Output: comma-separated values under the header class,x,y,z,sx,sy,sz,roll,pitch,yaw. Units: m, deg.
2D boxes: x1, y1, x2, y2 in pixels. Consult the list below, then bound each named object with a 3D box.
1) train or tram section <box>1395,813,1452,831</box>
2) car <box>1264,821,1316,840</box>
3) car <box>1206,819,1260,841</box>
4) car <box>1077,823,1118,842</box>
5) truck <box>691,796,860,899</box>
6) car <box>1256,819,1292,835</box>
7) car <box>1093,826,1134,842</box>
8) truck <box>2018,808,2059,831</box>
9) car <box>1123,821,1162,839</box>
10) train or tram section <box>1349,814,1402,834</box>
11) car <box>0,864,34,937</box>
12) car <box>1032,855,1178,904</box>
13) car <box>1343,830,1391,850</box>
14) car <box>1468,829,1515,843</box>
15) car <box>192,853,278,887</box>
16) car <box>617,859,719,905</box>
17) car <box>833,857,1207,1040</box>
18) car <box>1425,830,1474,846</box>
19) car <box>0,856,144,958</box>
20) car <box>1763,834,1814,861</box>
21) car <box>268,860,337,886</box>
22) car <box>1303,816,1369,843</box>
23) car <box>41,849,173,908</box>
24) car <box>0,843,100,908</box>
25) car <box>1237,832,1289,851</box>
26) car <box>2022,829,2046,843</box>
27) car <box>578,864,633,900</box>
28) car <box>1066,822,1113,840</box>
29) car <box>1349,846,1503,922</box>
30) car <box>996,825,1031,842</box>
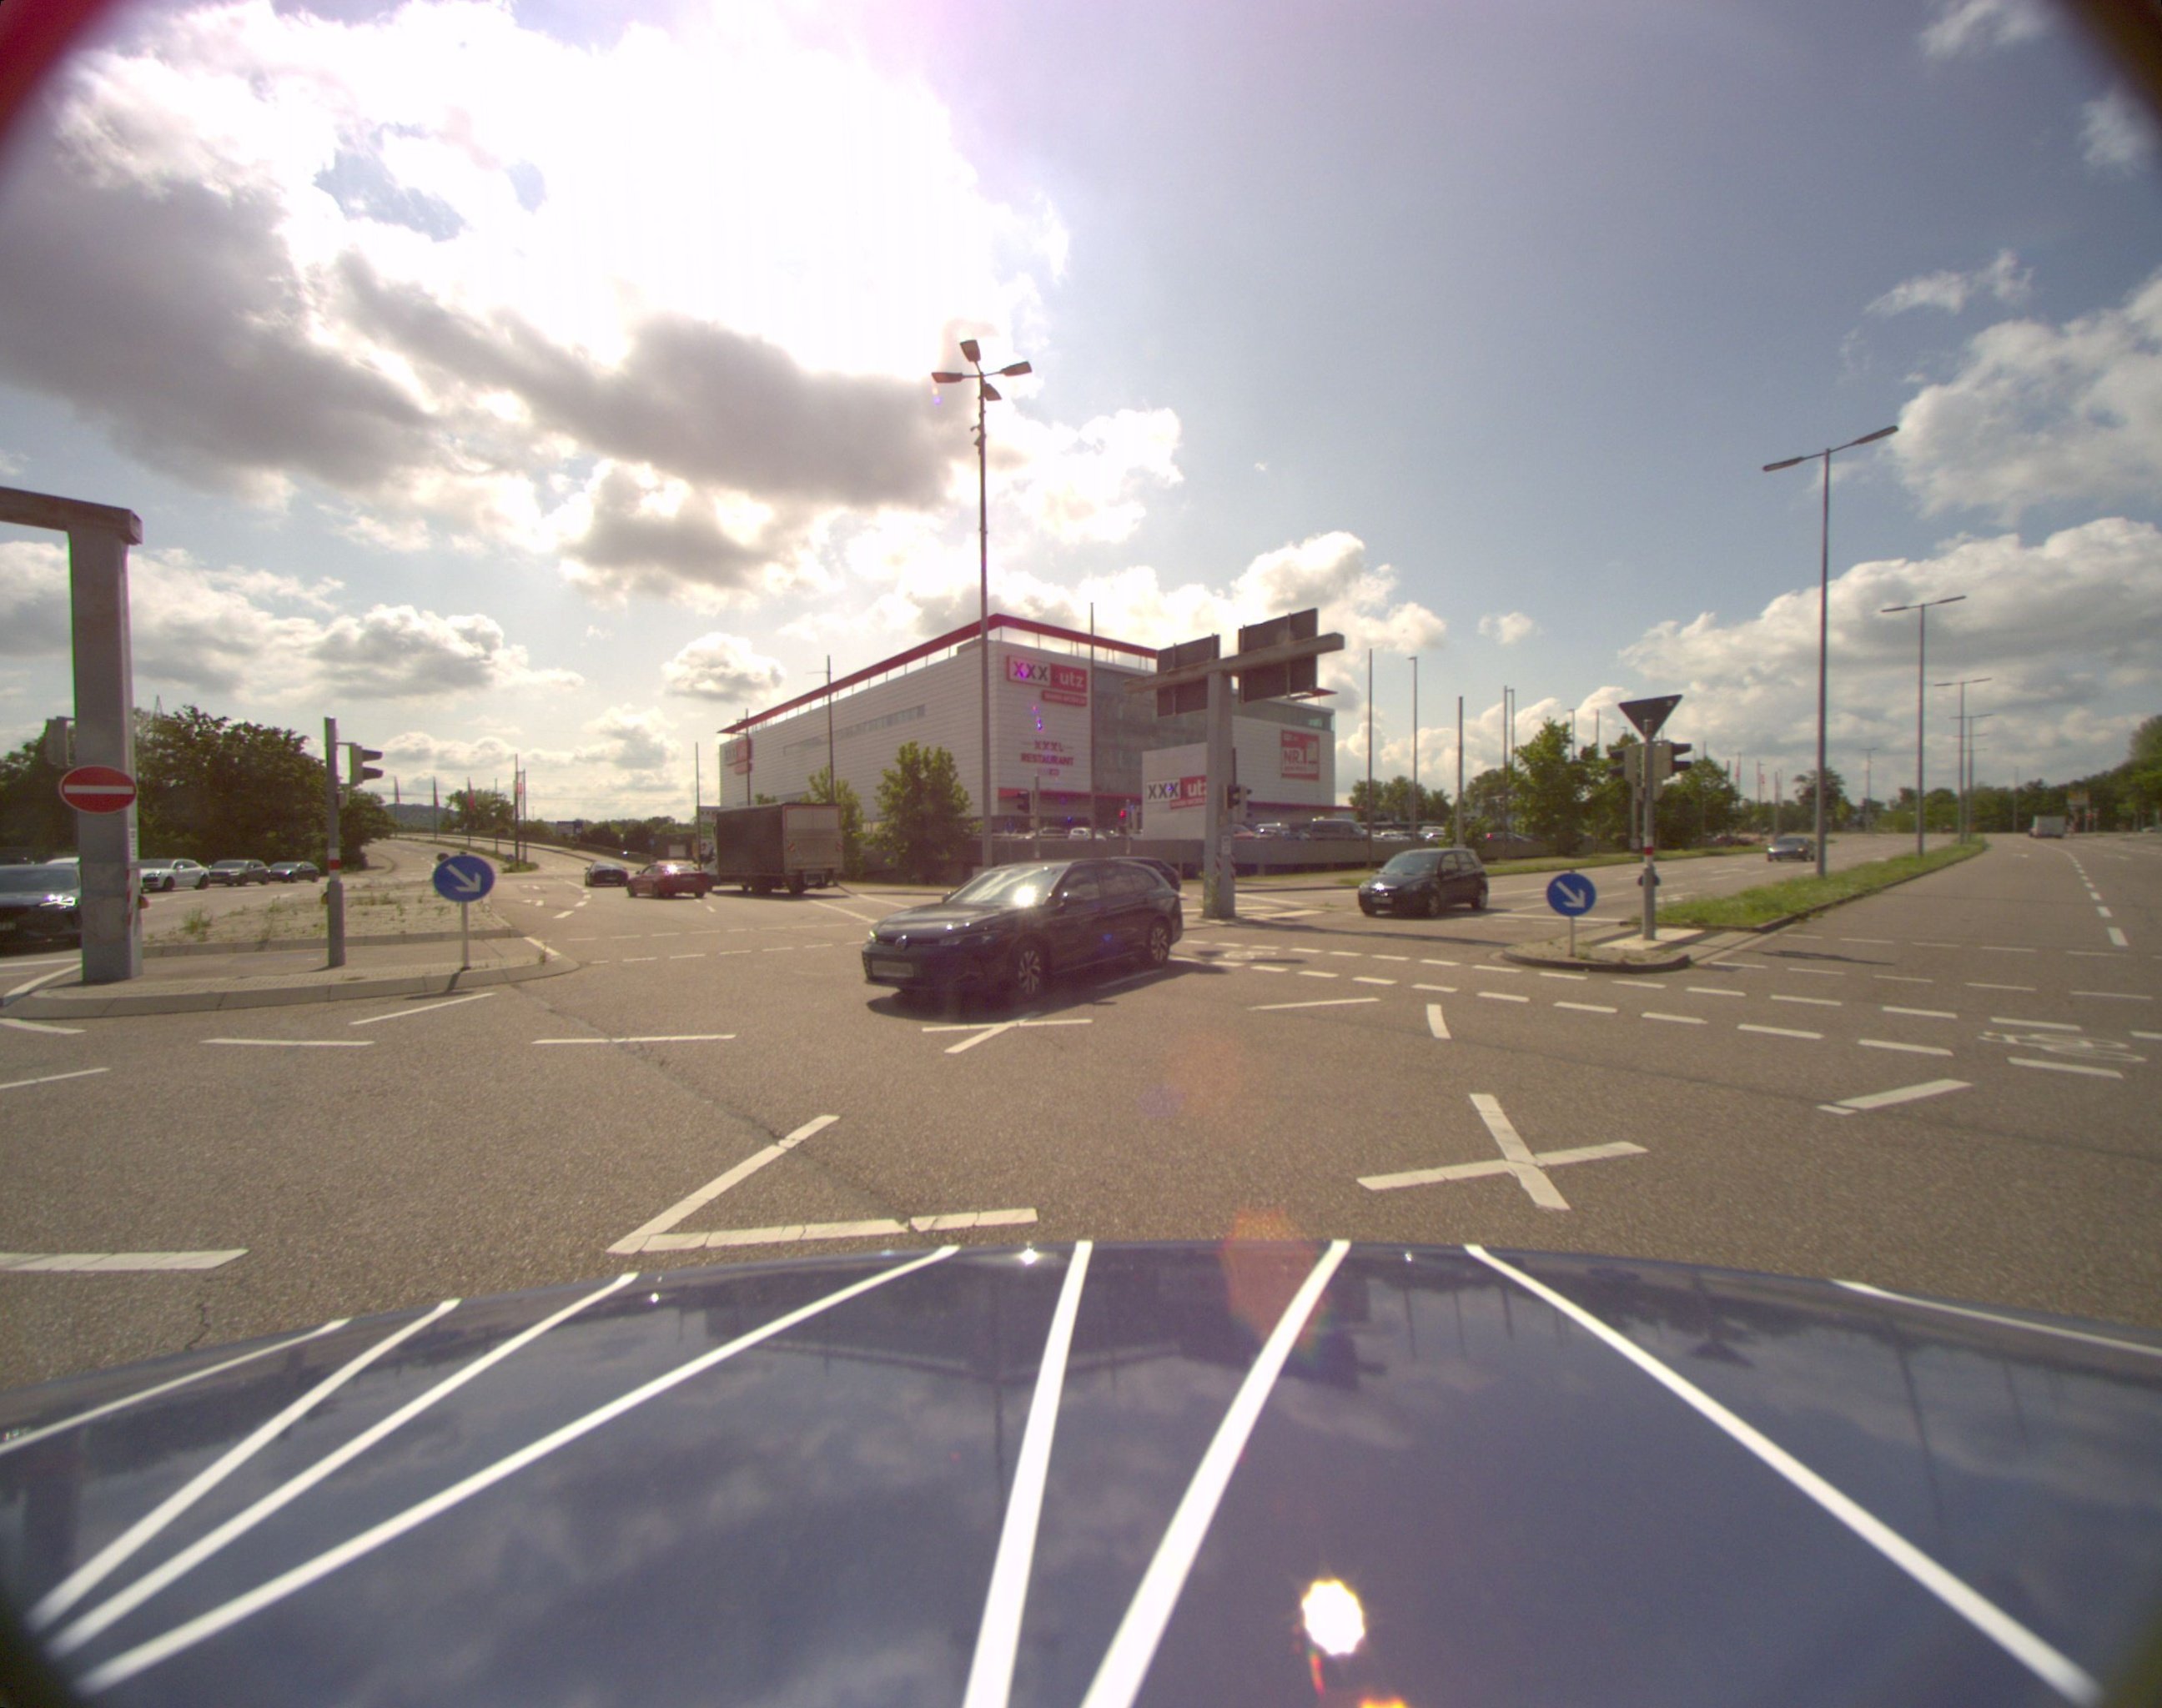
class,x,y,z,sx,sy,sz,roll,pitch,yaw
train or tram section,88.330,-8.186,196.214,3.739,4.347,13.067,-3,3,-40
car,19.682,-2.189,71.747,1.958,1.596,4.411,-3,1,-37
car,13.418,-2.115,66.969,4.177,1.740,1.920,-2,1,38
car,1.626,-2.195,76.874,1.920,1.740,3.989,-3,1,-39
truck,-13.795,-0.220,33.809,9.045,4.004,3.229,-2,1,43
car,24.009,-3.349,94.607,1.920,1.740,3.989,-3,1,-39
car,3.310,-2.067,78.351,1.563,1.462,4.411,-3,1,-41
truck,121.636,-4.421,96.585,5.795,2.736,2.966,-3,1,-41
car,6.644,-2.596,82.098,1.920,1.740,3.989,-3,1,-39
train or tram section,79.807,-8.070,206.206,3.739,4.534,13.071,-3,1,-40
car,-24.938,1.079,16.456,1.831,1.617,4.200,-3,1,-43
car,0.867,0.867,25.766,4.671,1.469,1.781,-2,1,12
car,27.695,-1.356,73.702,1.752,1.783,3.989,-3,1,-37
car,48.812,-2.123,90.374,1.958,1.596,4.411,-3,1,-39
car,-50.197,0.918,45.208,1.830,1.827,4.436,-3,1,-27
car,-16.625,1.124,30.507,4.207,1.646,1.868,-2,1,36
car,-0.334,0.873,9.450,1.809,1.469,5.213,-1,1,33
car,40.820,-1.799,84.219,1.958,1.596,4.411,-3,1,-39
car,-19.040,0.921,13.940,1.831,1.617,4.200,-4,1,-45
car,41.811,-0.397,44.900,4.277,1.521,1.603,-2,1,-39
car,-52.404,1.234,51.272,1.830,1.605,4.436,-3,1,-27
car,24.019,-2.274,71.712,1.753,2.270,5.783,-4,1,-41
car,-34.011,0.838,26.697,1.831,1.827,4.434,-3,1,-39
car,-28.962,0.605,20.713,1.831,1.617,4.200,-3,1,-41
car,16.911,-1.179,70.871,1.958,1.596,4.411,-3,1,-39
car,128.180,-2.429,102.207,4.007,1.674,1.938,-3,1,-38
car,-26.147,1.563,41.717,1.869,1.645,4.209,-1,-4,-42
car,0.761,-2.127,70.657,1.958,1.462,4.411,-3,1,-41
car,8.368,0.634,18.275,4.277,1.521,1.603,-3,2,-39
car,-7.463,-2.239,83.748,1.563,1.813,4.411,-3,1,-41
